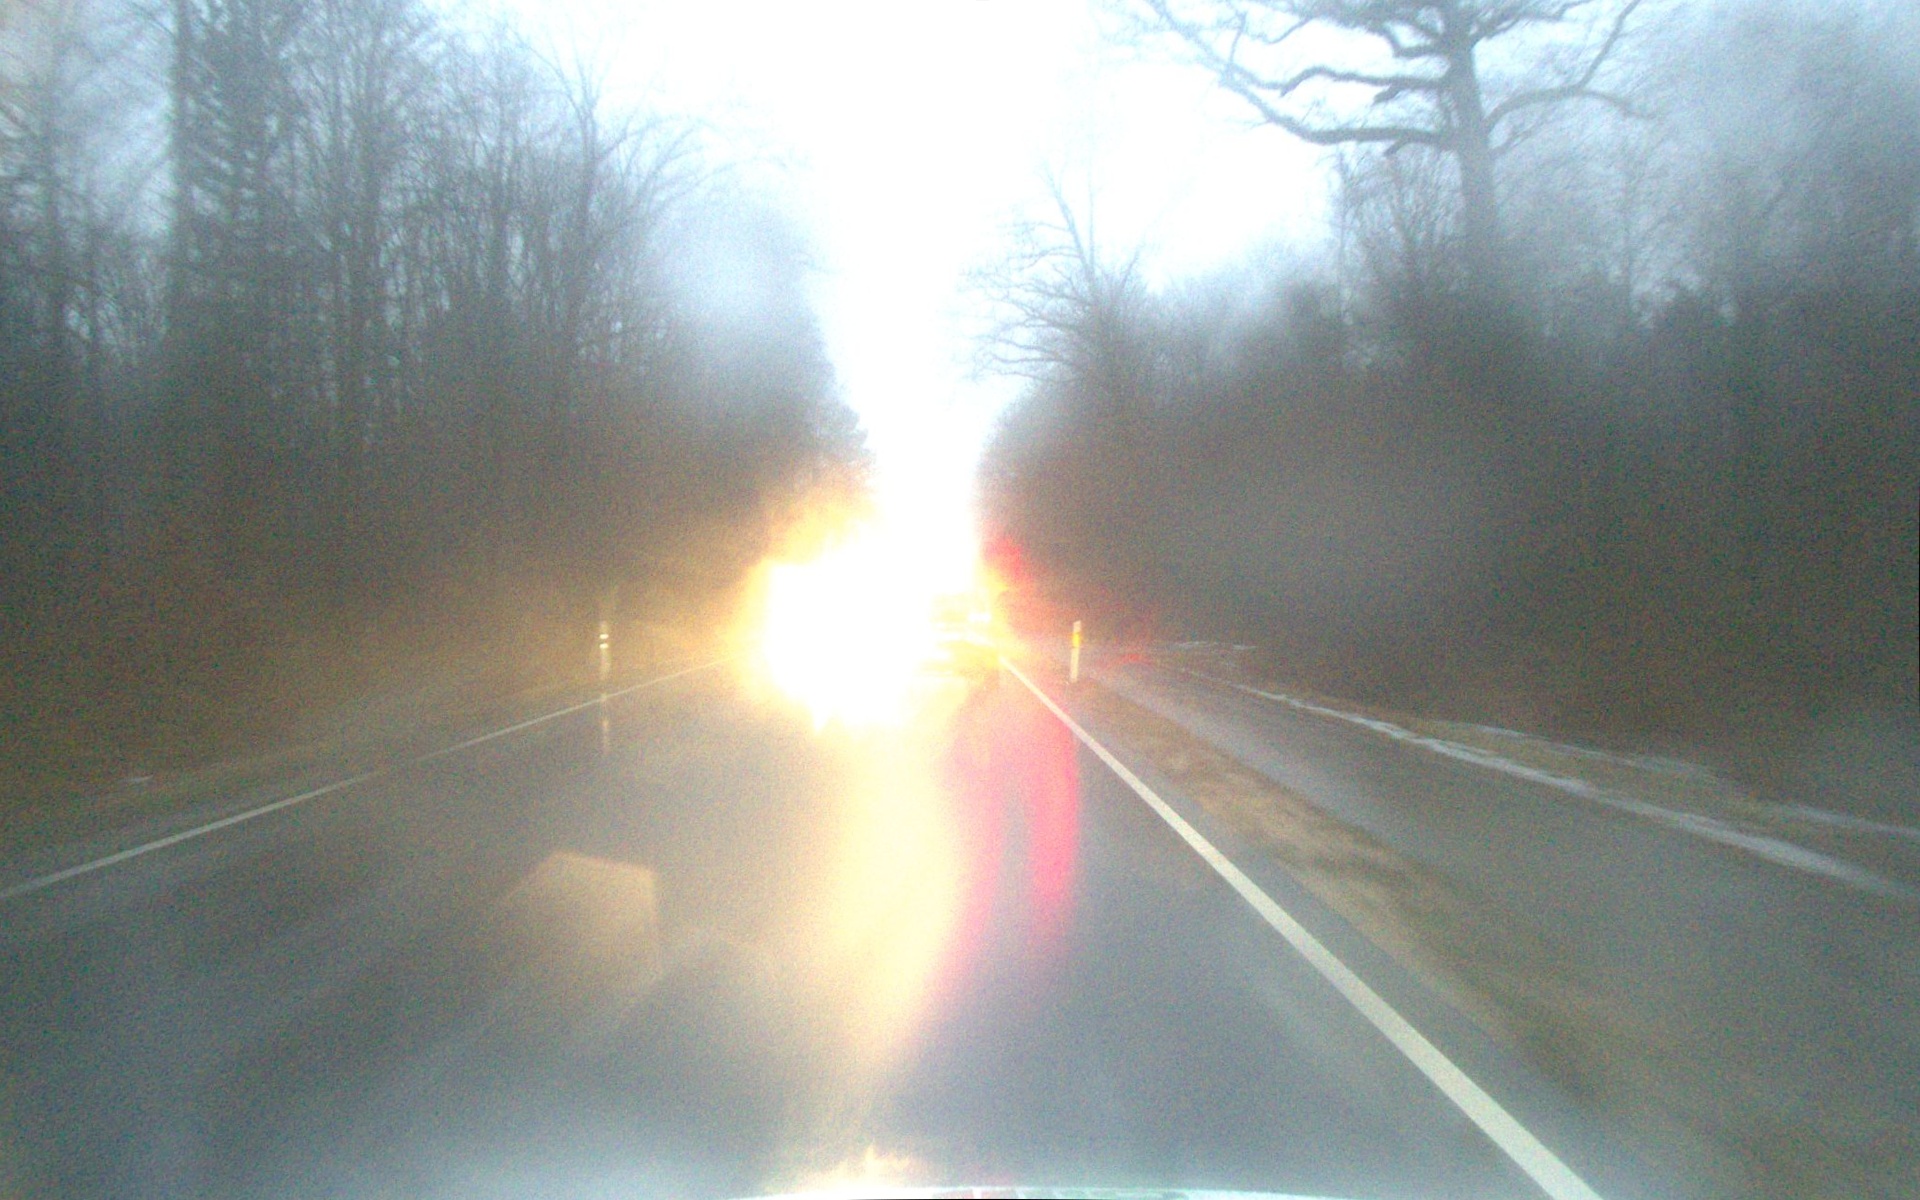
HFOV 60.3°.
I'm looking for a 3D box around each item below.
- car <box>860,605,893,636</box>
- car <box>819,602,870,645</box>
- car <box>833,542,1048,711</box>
[{"bbox_3d":[-5.022,1.211,99.949,1.879,1.636,5.015,-1,1,-2],"label":"car"},{"bbox_3d":[-4.252,0.844,61.180,1.657,1.445,3.999,-1,1,-1],"label":"car"},{"bbox_3d":[-0.284,0.403,27.530,3.118,2.428,6.636,1,0,0],"label":"car"}]
